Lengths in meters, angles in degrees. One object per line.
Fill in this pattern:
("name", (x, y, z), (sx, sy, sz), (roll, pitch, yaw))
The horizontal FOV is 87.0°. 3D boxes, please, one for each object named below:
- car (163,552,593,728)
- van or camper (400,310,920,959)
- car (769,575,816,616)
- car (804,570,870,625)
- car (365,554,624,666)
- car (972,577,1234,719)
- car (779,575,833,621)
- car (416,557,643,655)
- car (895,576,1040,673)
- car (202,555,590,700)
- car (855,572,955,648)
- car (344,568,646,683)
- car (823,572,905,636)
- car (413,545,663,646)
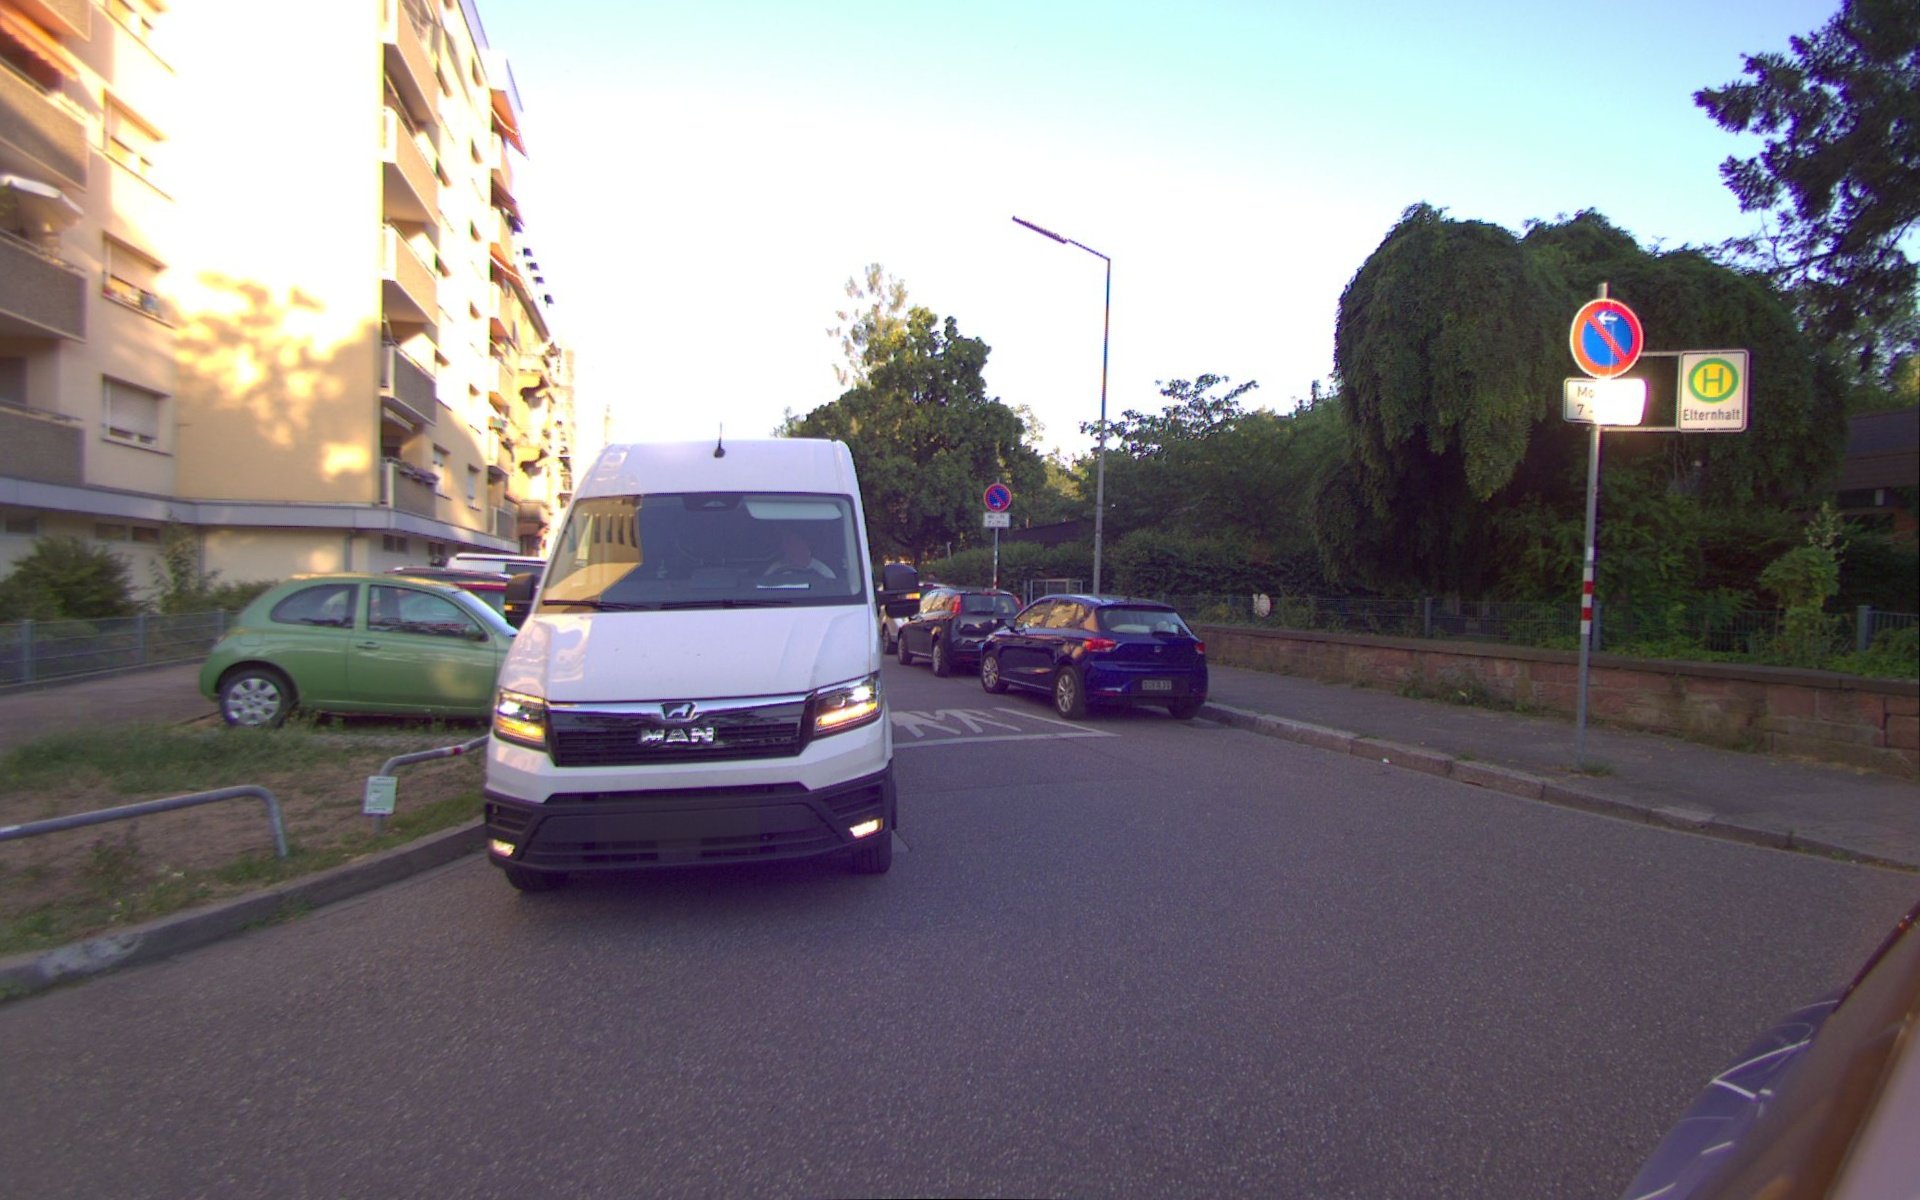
("car", (-5.722, 0.415, 10.429), (3.495, 1.531, 1.630), (3, -1, -17))
("van or camper", (-1.601, 0.057, 7.616), (2.054, 2.622, 6.880), (-1, 1, -6))
("car", (-7.010, -0.200, 42.113), (1.502, 1.605, 2.961), (1, 1, -17))
("car", (-3.911, -0.103, 31.896), (1.502, 1.605, 2.961), (1, 1, -17))
("car", (-8.117, 0.173, 18.035), (3.968, 1.836, 1.833), (1, 1, -19))
("car", (1.629, 0.483, 12.903), (1.687, 1.503, 3.798), (1, 1, -20))
("car", (-5.727, -0.086, 37.408), (1.502, 1.605, 2.961), (1, 1, -17))
("car", (-8.560, 0.120, 20.452), (4.025, 1.836, 1.833), (1, 1, -19))
("car", (0.024, 0.359, 17.774), (1.502, 1.503, 3.519), (1, 1, -17))
("car", (-6.703, 0.308, 12.541), (3.915, 1.571, 1.833), (1, 1, -19))
("car", (-1.310, 0.185, 22.970), (1.502, 1.605, 3.136), (1, 1, -17))
("car", (-6.865, 0.353, 15.351), (3.915, 1.571, 1.833), (1, 1, -19))
("car", (-2.651, 0.074, 27.430), (1.502, 1.605, 3.410), (1, 1, -17))
("car", (-9.394, -0.097, 23.004), (4.971, 2.111, 2.004), (1, 1, -14))
